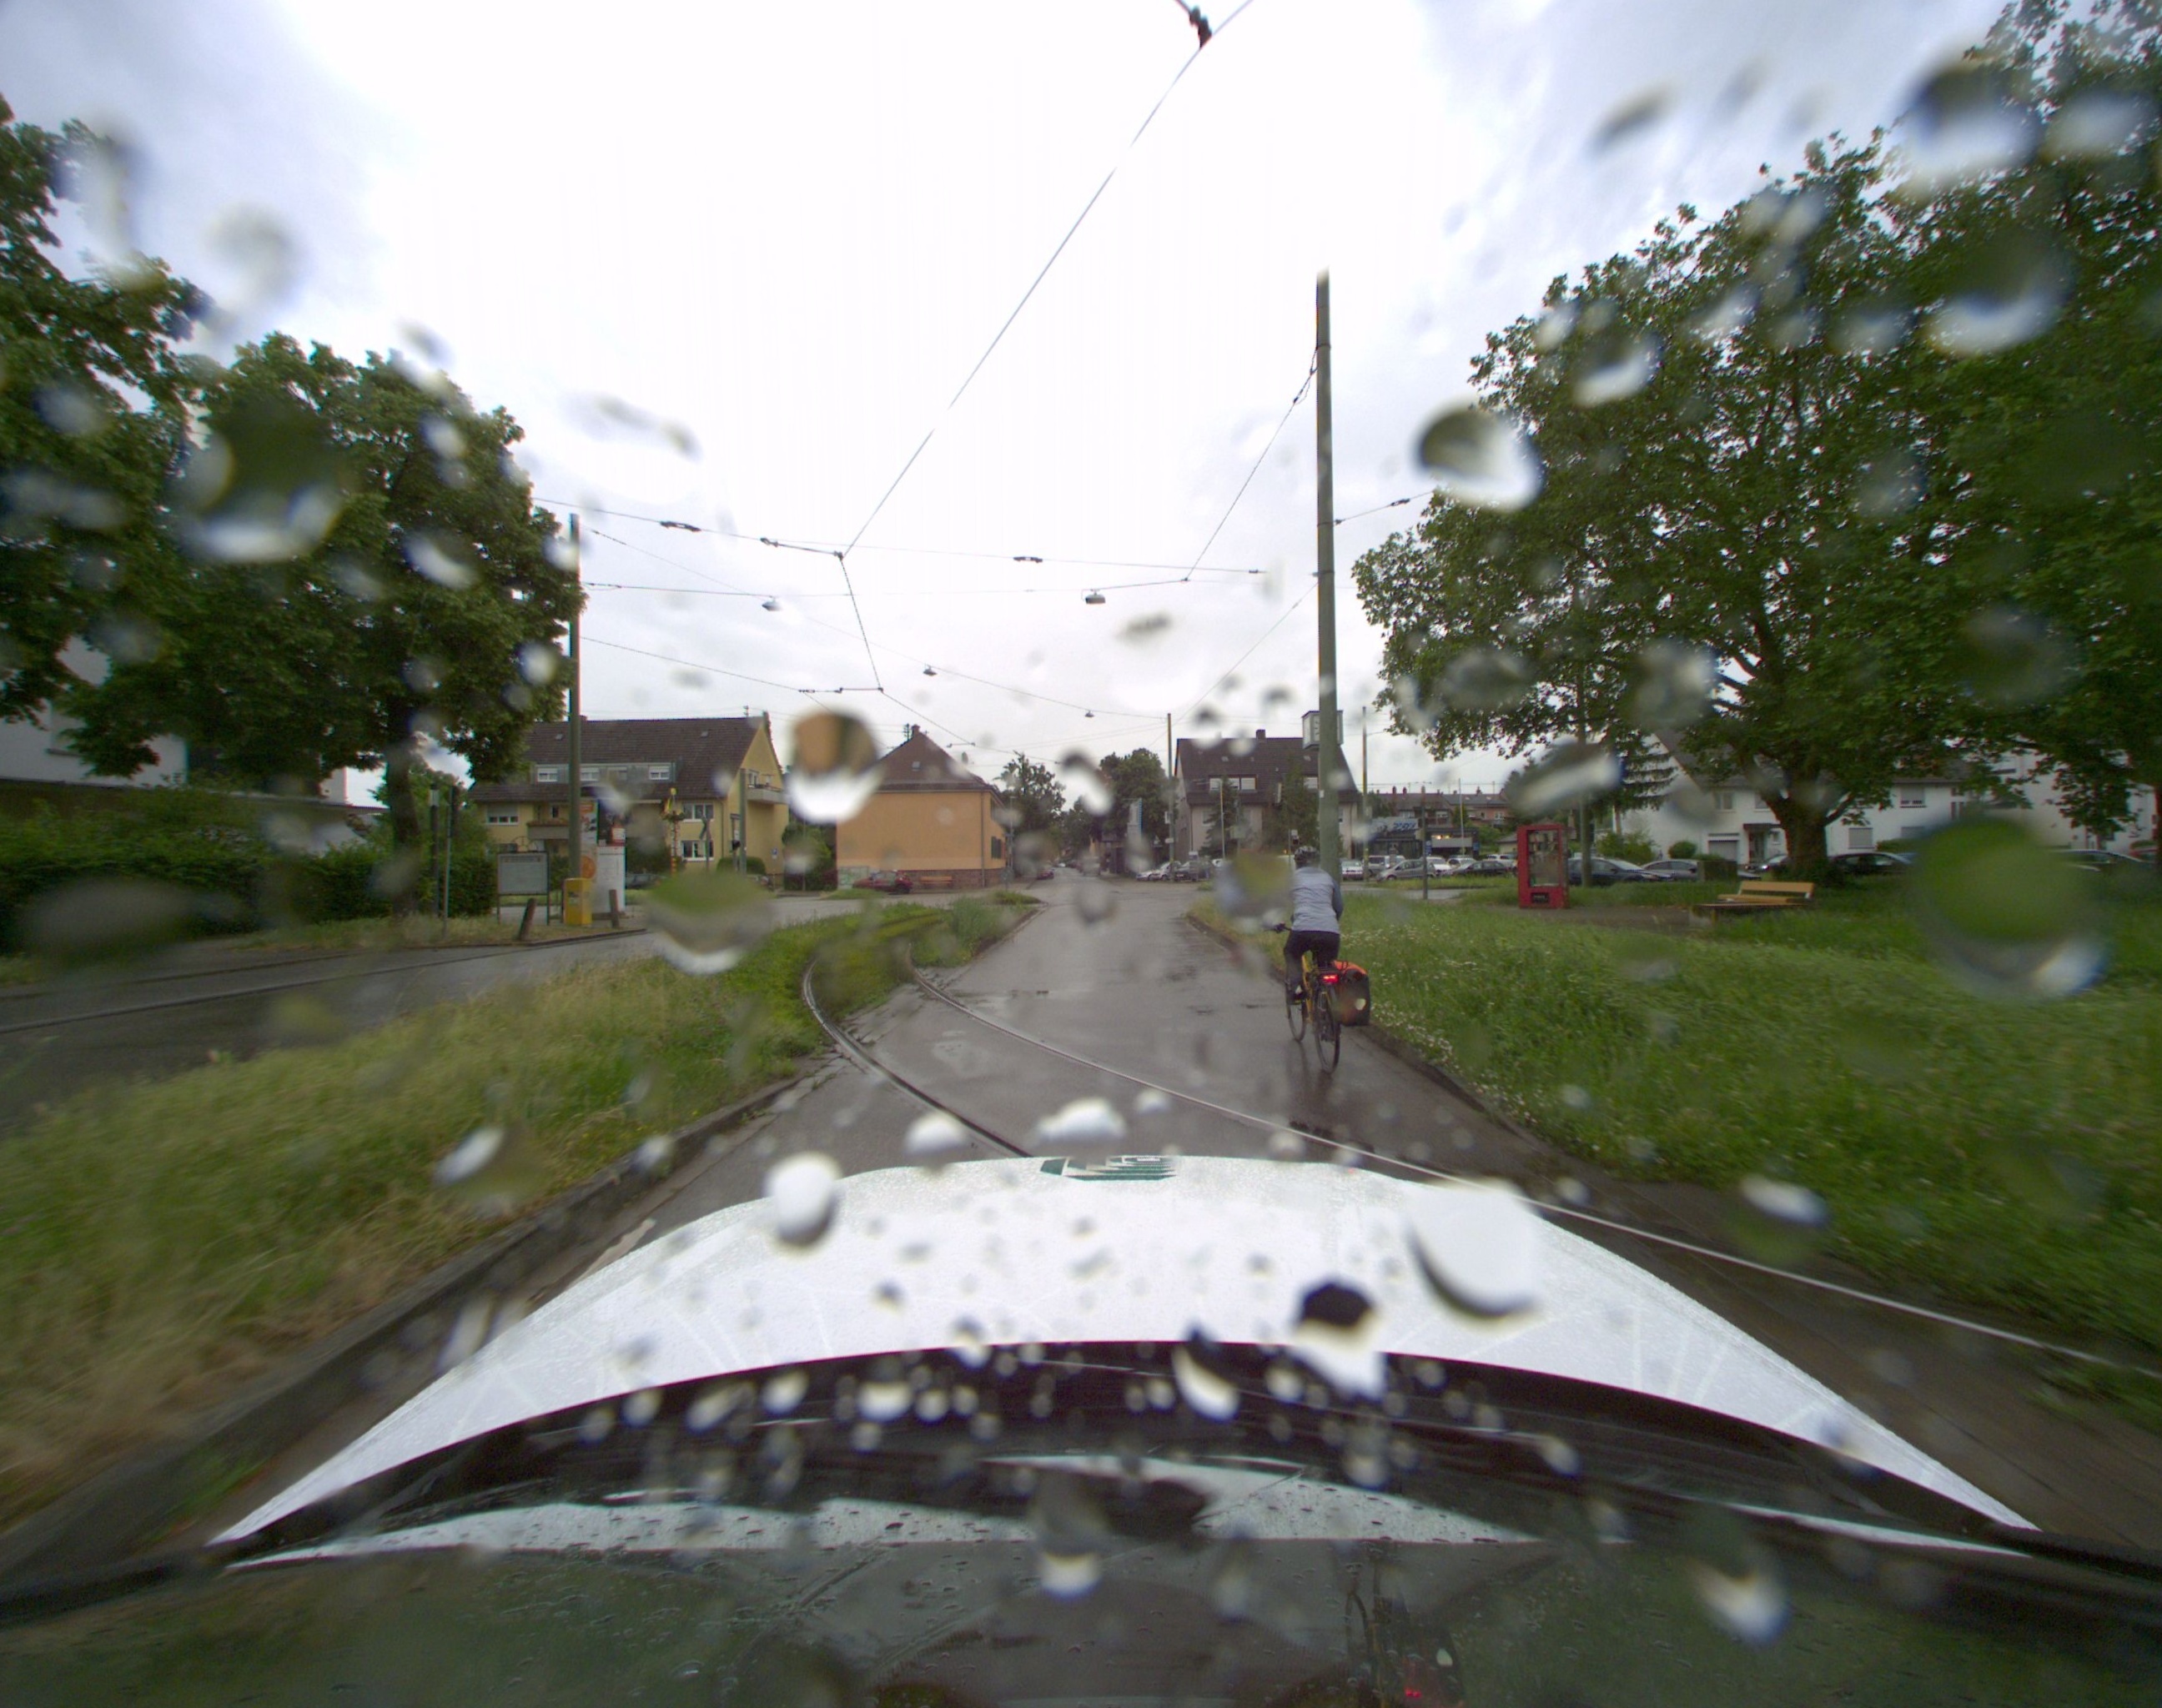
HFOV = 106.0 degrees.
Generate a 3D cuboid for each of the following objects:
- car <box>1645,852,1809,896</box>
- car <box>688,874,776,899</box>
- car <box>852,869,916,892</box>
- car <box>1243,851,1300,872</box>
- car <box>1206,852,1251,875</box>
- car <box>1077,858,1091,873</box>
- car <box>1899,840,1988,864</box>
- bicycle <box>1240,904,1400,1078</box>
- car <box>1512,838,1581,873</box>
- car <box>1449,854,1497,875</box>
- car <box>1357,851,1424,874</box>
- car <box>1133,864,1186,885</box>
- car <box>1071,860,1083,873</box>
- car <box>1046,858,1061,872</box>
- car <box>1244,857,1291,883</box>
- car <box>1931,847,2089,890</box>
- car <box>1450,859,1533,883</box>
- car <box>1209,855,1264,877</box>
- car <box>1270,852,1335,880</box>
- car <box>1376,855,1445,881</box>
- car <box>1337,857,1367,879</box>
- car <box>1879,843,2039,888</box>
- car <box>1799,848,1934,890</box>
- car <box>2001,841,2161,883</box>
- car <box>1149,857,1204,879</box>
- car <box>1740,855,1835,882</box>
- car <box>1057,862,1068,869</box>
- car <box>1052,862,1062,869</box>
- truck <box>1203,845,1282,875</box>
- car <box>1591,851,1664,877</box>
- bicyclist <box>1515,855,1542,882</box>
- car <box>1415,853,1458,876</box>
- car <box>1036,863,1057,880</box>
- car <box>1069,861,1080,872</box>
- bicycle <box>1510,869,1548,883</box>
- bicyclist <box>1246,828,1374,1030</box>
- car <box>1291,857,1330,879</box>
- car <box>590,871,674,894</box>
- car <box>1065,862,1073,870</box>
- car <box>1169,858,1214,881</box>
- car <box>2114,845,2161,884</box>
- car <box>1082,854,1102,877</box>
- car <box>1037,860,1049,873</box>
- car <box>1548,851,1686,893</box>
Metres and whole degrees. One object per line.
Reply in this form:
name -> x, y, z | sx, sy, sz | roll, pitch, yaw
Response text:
car -> 24.266, 0.740, 30.805 | 1.808, 1.476, 4.511 | -1, -1, -26
car -> -21.320, 1.964, 49.908 | 4.479, 1.396, 1.965 | -1, -1, -3
car -> -12.258, 1.647, 50.781 | 3.597, 1.339, 1.721 | 1, -1, -3
car -> 16.284, 0.650, 69.860 | 4.415, 1.687, 2.001 | -1, -2, 2
car -> 10.620, 0.649, 58.490 | 1.784, 1.579, 3.896 | -2, -1, 32
car -> 0.421, 1.637, 113.858 | 1.987, 2.014, 3.999 | 1, -1, 0
car -> 54.130, -0.135, 51.161 | 3.918, 1.423, 1.606 | 1, -1, 0
bicycle -> 1.820, 0.997, 6.535 | 0.750, 1.073, 1.928 | -2, -1, 2
car -> 34.128, 0.135, 59.837 | 2.138, 2.406, 5.148 | 1, -1, 0
car -> 27.839, 0.746, 57.940 | 1.710, 1.396, 3.845 | 1, -1, 3
car -> 23.723, 0.667, 62.553 | 4.415, 1.687, 1.761 | -1, -2, 2
car -> 6.409, 1.692, 66.733 | 3.872, 1.579, 1.795 | -1, -1, -20
car -> -0.645, 2.034, 133.546 | 1.824, 2.014, 3.996 | 1, -1, -2
car -> -3.898, 1.607, 117.606 | 1.987, 2.014, 3.999 | 1, -1, 0
car -> 13.344, 1.132, 58.044 | 1.974, 1.717, 4.025 | -2, -1, 32
car -> 36.359, 0.609, 31.960 | 1.970, 1.553, 3.953 | 2, -3, -39
car -> 25.802, 1.090, 51.251 | 4.363, 1.339, 1.721 | 2, -1, -3
car -> 12.165, 0.949, 63.746 | 3.933, 1.598, 2.010 | -2, -2, 20
car -> 17.036, 0.942, 62.770 | 4.415, 2.014, 2.001 | -1, -2, 2
car -> 20.745, 0.885, 51.350 | 3.621, 1.504, 1.722 | 1, -1, -1
car -> 19.278, 0.970, 58.045 | 1.814, 1.504, 4.074 | 1, -1, 15
car -> 33.978, 0.504, 31.603 | 1.832, 1.501, 3.955 | 2, -5, -36
car -> 30.513, 0.638, 31.725 | 1.762, 1.506, 3.478 | 2, -4, -35
car -> 39.717, 0.352, 32.212 | 1.872, 1.480, 4.081 | 0, -3, -31
car -> 7.430, 1.080, 63.635 | 3.872, 1.579, 1.795 | -1, -1, -20
car -> 42.255, 0.850, 48.750 | 3.976, 1.476, 1.999 | -1, -1, -2
car -> -4.846, 3.069, 216.241 | 1.832, 1.697, 4.009 | 1, -1, -16
car -> -6.610, 3.104, 221.654 | 1.832, 1.697, 4.009 | 1, -1, -16
truck -> 13.249, 0.543, 66.667 | 6.032, 2.272, 2.010 | -2, -2, 19
car -> 39.322, 0.725, 58.666 | 3.870, 1.565, 1.999 | -4, 0, -1
bicyclist -> 27.297, 0.907, 49.671 | 1.036, 1.598, 0.949 | -2, -1, -2
car -> 25.368, 0.769, 58.172 | 1.710, 1.573, 3.620 | 1, -1, 4
car -> -3.509, 1.814, 83.169 | 1.988, 1.618, 3.996 | -1, -1, -2
car -> -1.235, 2.363, 152.334 | 1.824, 2.014, 3.996 | 1, -1, -2
bicycle -> 27.330, 1.310, 49.675 | 1.809, 0.786, 0.942 | -2, -1, -2
bicyclist -> 1.796, 0.566, 6.507 | 0.748, 1.485, 0.847 | -2, -1, 2
car -> 16.393, 0.992, 58.134 | 1.810, 1.504, 4.082 | 1, -1, 28
car -> -27.006, 1.703, 49.098 | 3.978, 1.332, 1.758 | 1, -1, -3
car -> -2.994, 2.882, 197.968 | 1.824, 2.014, 3.996 | 1, -1, -2
car -> 8.165, 1.106, 60.120 | 1.784, 1.579, 3.896 | -2, -1, 32
car -> 43.319, 0.361, 31.686 | 1.641, 1.480, 3.568 | 0, -3, -26
car -> 1.258, 1.304, 95.580 | 2.148, 2.573, 4.129 | 1, -1, -2
car -> -6.231, 2.063, 134.028 | 1.824, 2.014, 3.996 | 1, -1, -2
car -> 20.884, 0.699, 31.908 | 1.810, 1.476, 4.137 | -1, -1, -30
